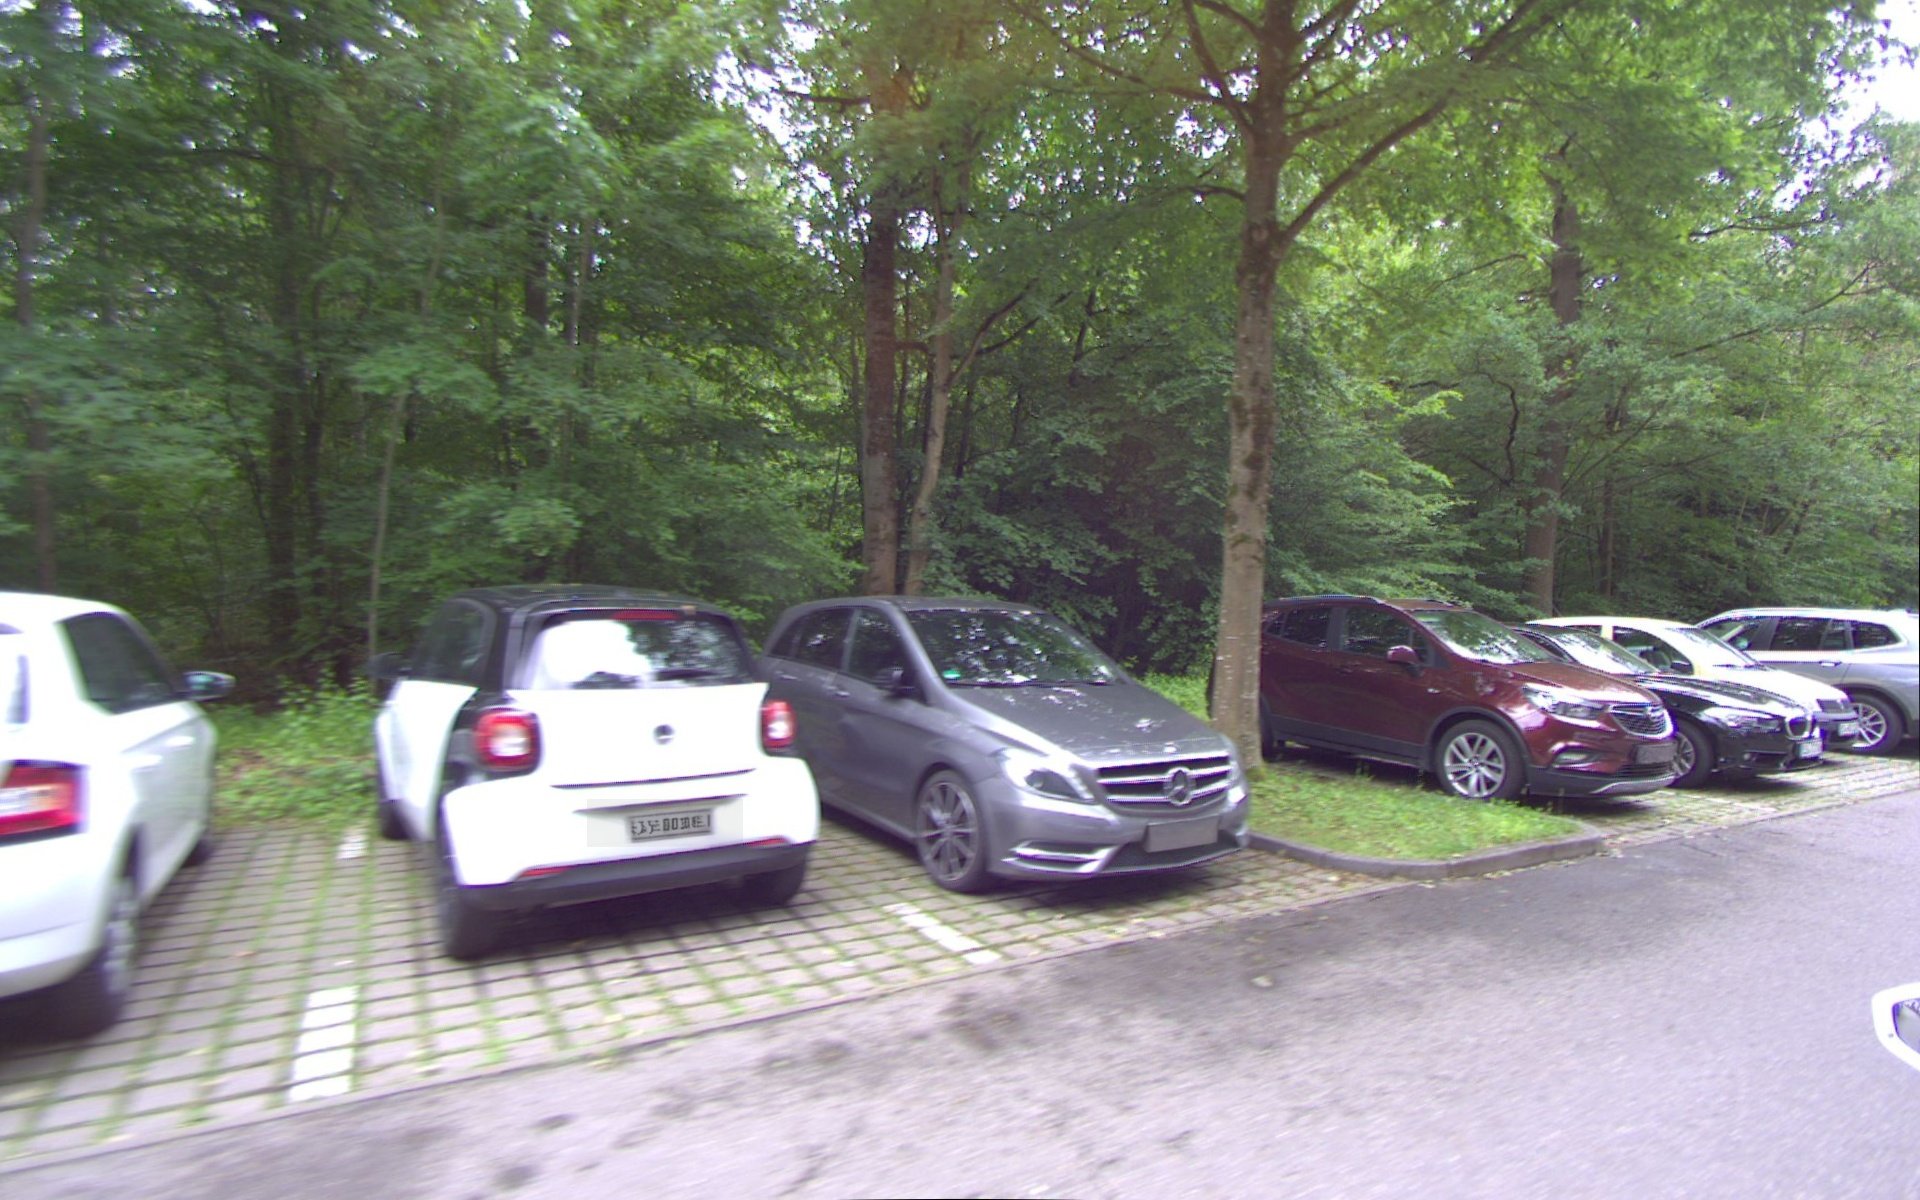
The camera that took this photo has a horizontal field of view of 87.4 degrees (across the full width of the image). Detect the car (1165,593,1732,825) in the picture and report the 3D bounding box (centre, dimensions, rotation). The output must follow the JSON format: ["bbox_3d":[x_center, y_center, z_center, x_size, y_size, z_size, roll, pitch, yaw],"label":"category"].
[{"bbox_3d":[4.195,0.765,9.453,1.905,1.605,4.492,1,0,-31],"label":"car"}]

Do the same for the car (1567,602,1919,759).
[{"bbox_3d":[10.612,0.912,13.057,2.006,1.655,4.203,1,1,-30],"label":"car"}]

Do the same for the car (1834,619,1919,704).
[{"bbox_3d":[19.048,1.182,18.533,1.910,1.544,4.062,1,0,-34],"label":"car"}]

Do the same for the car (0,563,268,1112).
[{"bbox_3d":[-4.356,0.599,4.343,1.919,1.506,4.539,1,0,-31],"label":"car"}]

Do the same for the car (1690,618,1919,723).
[{"bbox_3d":[14.495,1.097,16.387,1.643,1.470,3.841,0,1,-33],"label":"car"}]

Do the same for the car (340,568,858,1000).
[{"bbox_3d":[-2.433,0.661,5.911,1.829,1.571,4.206,1,0,-35],"label":"car"}]

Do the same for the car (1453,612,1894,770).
[{"bbox_3d":[8.411,0.948,12.247,1.777,1.484,4.005,1,0,-29],"label":"car"}]

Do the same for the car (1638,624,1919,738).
[{"bbox_3d":[12.519,1.108,14.677,1.791,1.327,3.955,0,1,-33],"label":"car"}]

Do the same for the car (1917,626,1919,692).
[{"bbox_3d":[23.213,1.353,21.134,1.941,1.450,4.089,1,0,-30],"label":"car"}]

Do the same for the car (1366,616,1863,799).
[{"bbox_3d":[6.524,0.935,10.474,1.767,1.382,3.965,1,1,-32],"label":"car"}]

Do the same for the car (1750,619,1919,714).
[{"bbox_3d":[16.809,1.178,17.535,1.816,1.508,4.379,1,1,-30],"label":"car"}]

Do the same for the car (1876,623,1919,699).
[{"bbox_3d":[20.965,1.276,19.697,1.975,1.500,4.085,1,0,-33],"label":"car"}]

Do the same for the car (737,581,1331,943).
[{"bbox_3d":[0.129,0.702,6.594,1.898,1.576,4.012,1,0,-32],"label":"car"}]
